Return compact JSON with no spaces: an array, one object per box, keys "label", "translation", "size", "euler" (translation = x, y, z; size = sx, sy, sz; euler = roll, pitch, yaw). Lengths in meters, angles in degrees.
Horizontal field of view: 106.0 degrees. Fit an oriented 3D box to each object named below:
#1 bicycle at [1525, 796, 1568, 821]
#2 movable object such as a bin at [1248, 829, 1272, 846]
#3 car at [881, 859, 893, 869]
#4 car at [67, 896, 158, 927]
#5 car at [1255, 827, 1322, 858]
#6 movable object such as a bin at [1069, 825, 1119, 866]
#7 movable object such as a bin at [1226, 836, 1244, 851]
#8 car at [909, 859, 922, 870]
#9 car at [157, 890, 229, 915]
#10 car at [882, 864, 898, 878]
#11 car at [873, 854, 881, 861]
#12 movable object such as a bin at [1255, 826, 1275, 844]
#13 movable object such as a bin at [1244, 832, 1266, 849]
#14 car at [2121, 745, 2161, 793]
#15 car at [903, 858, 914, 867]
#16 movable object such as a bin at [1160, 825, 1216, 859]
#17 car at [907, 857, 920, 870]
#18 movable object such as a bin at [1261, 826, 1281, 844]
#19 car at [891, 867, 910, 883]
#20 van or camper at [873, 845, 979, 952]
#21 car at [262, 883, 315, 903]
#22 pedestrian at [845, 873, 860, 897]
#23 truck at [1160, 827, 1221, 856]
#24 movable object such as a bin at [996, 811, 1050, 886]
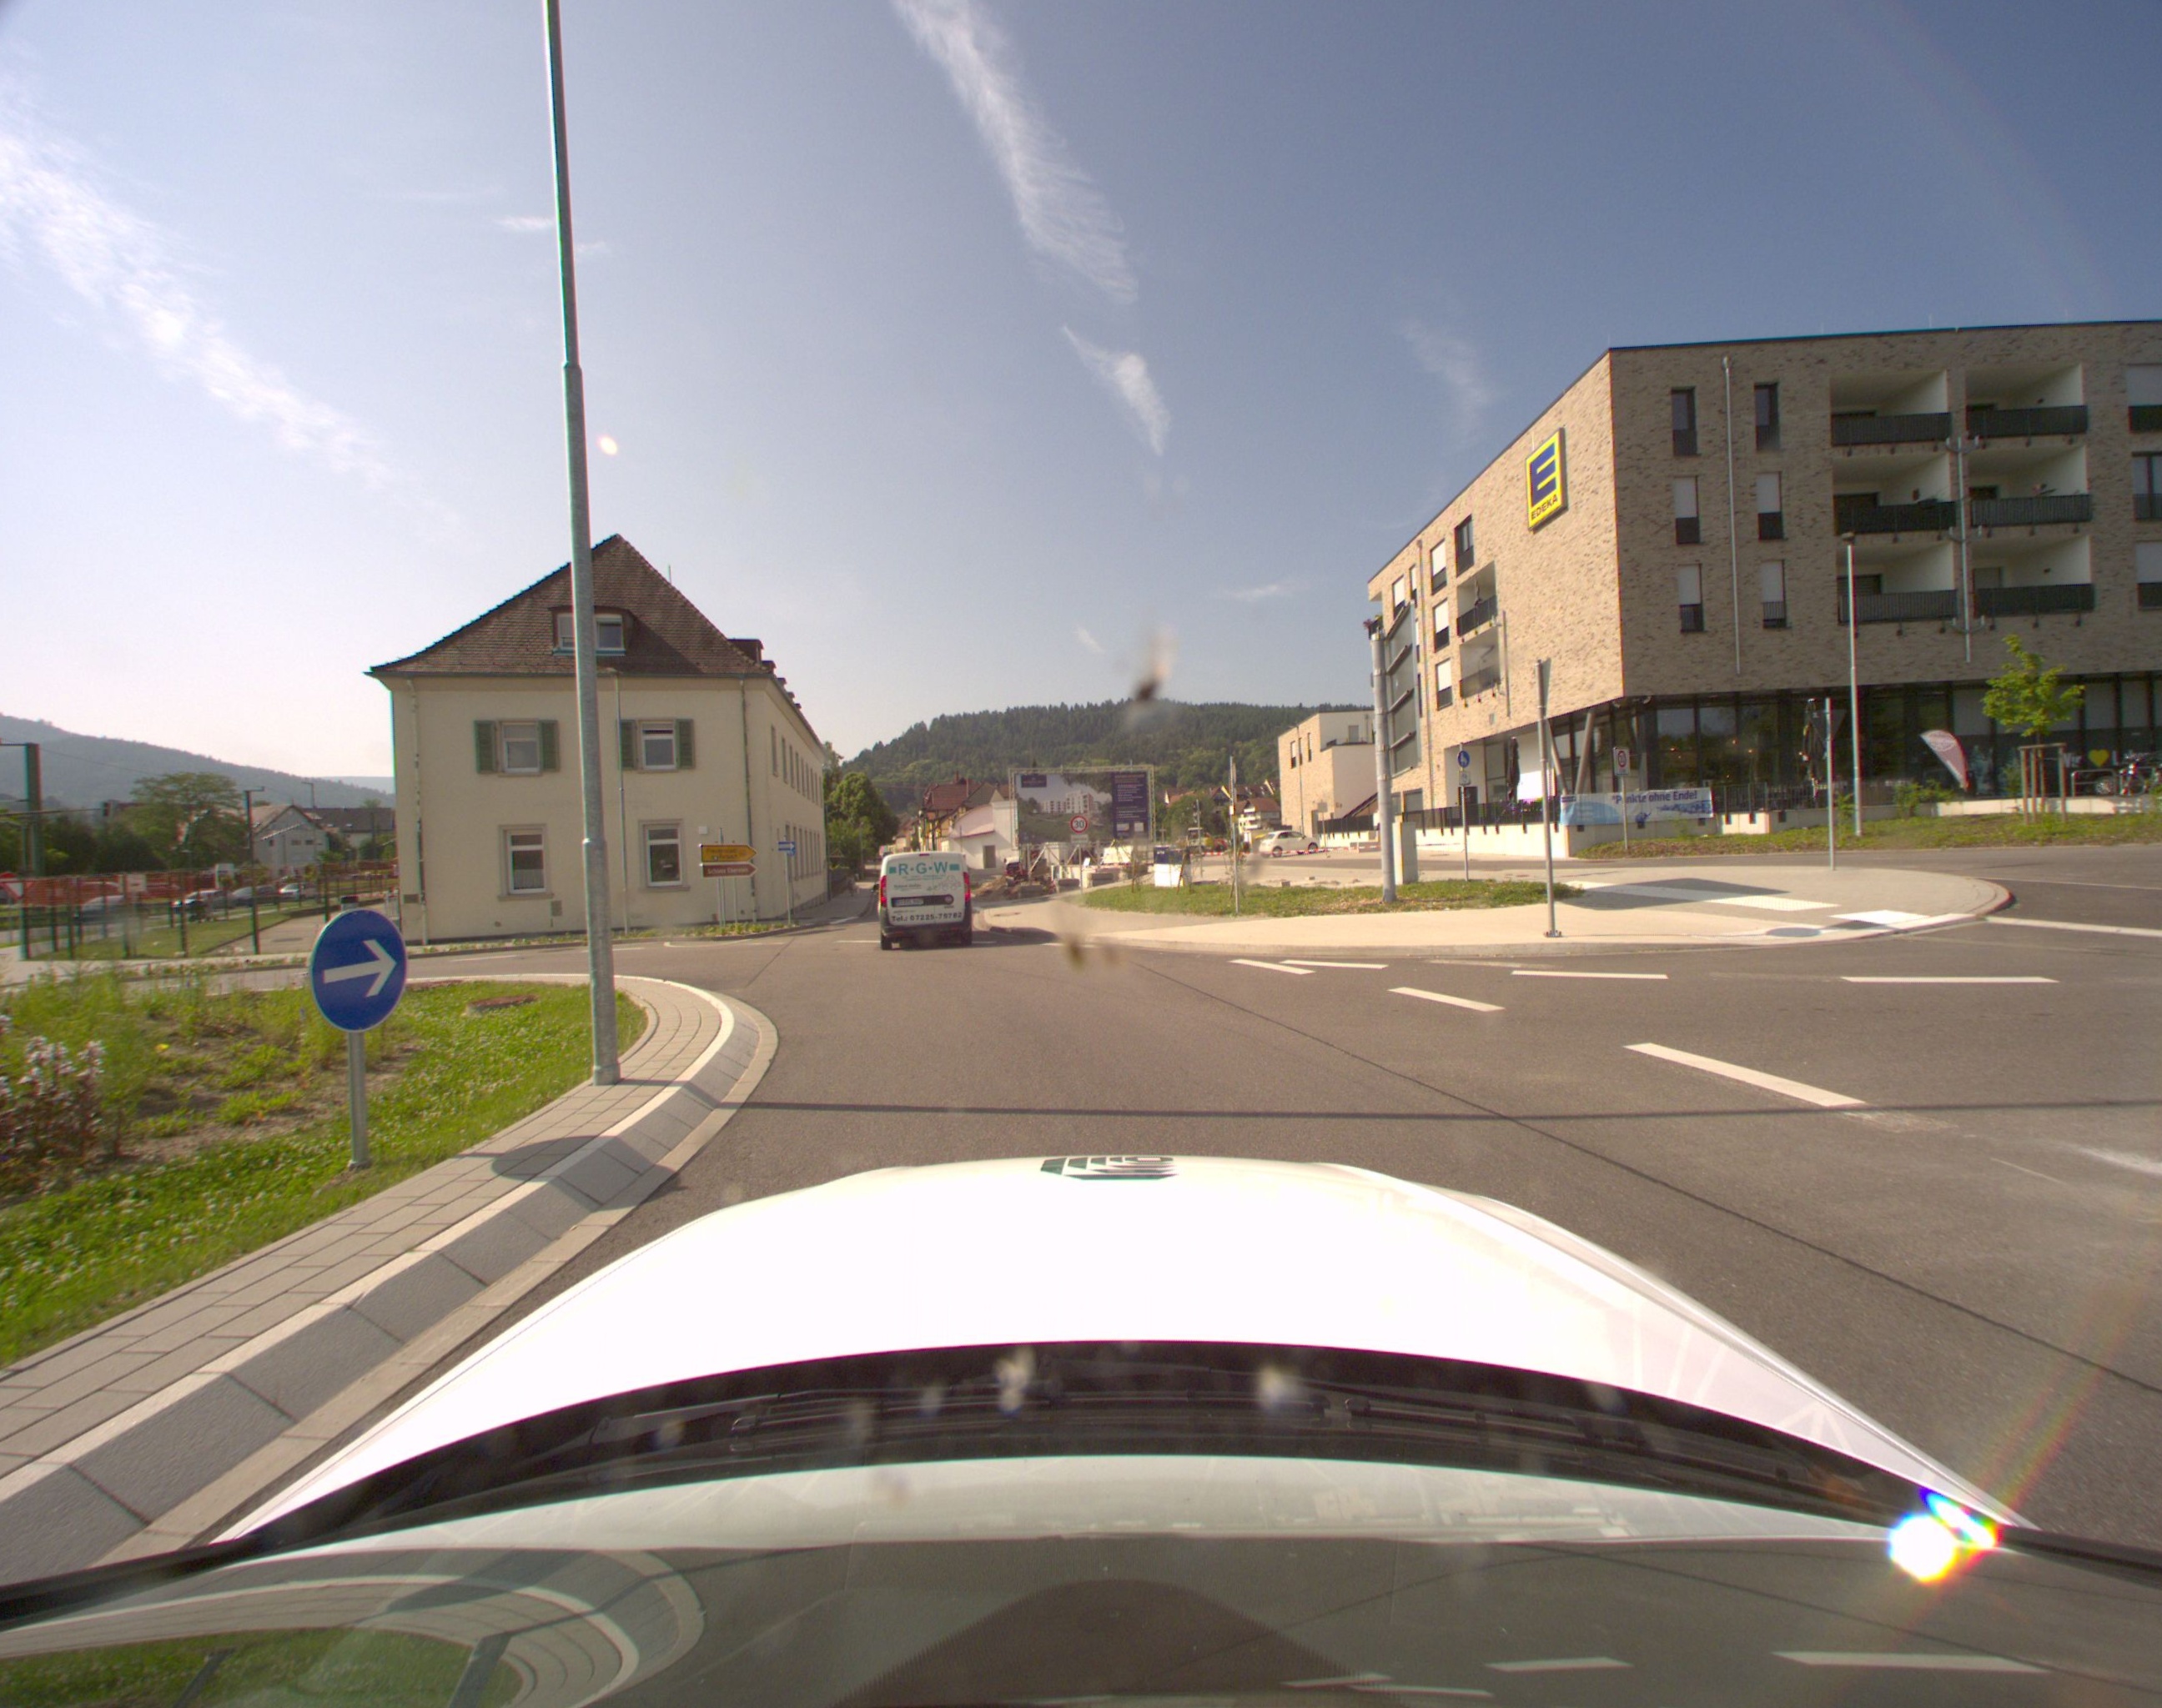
[{"label":"bicycle","translation":[20.809,-2.014,36.472],"size":[0.689,1.045,2.245],"euler":[0,1,1]},{"label":"movable object such as a bin","translation":[15.232,-1.398,69.193],"size":[1.689,1.464,1.318],"euler":[0,1,-4]},{"label":"car","translation":[-32.045,1.648,134.610],"size":[1.814,1.596,3.906],"euler":[-1,0,-15]},{"label":"car","translation":[-56.675,3.332,47.751],"size":[1.716,1.397,3.971],"euler":[-1,1,-22]},{"label":"car","translation":[12.132,-0.665,47.684],"size":[3.410,1.495,1.586],"euler":[-4,-1,-15]},{"label":"movable object such as a bin","translation":[1.274,-0.810,75.739],"size":[2.825,3.621,5.766],"euler":[0,1,21]},{"label":"movable object such as a bin","translation":[13.668,-0.955,72.404],"size":[1.293,1.268,1.318],"euler":[0,1,-4]},{"label":"car","translation":[-25.637,1.680,126.178],"size":[1.813,1.596,3.909],"euler":[-1,0,-13]},{"label":"car","translation":[-59.901,3.260,55.014],"size":[1.716,1.397,3.971],"euler":[-1,1,-22]},{"label":"car","translation":[-23.431,2.025,99.931],"size":[1.812,1.596,3.911],"euler":[-1,0,-12]},{"label":"car","translation":[-52.955,0.916,211.689],"size":[1.816,1.596,3.903],"euler":[-1,0,-18]},{"label":"movable object such as a bin","translation":[15.274,-1.572,67.649],"size":[1.296,1.464,1.318],"euler":[0,1,-4]},{"label":"movable object such as a bin","translation":[15.023,-1.145,70.494],"size":[1.577,1.464,1.318],"euler":[0,1,-4]},{"label":"car","translation":[33.057,-2.561,23.607],"size":[1.483,1.350,3.327],"euler":[0,1,-5]},{"label":"car","translation":[-32.086,1.502,151.400],"size":[1.673,1.508,3.979],"euler":[-4,1,-15]},{"label":"movable object such as a bin","translation":[9.533,-1.069,72.369],"size":[4.581,2.569,1.932],"euler":[-4,0,12]},{"label":"car","translation":[-27.909,1.538,135.750],"size":[1.874,2.013,3.981],"euler":[-2,0,-14]},{"label":"movable object such as a bin","translation":[15.381,-1.552,66.051],"size":[1.296,1.464,1.318],"euler":[0,1,-4]},{"label":"car","translation":[-18.964,2.177,85.837],"size":[1.811,1.596,3.912],"euler":[-1,0,-11]},{"label":"van or camper","translation":[-3.373,0.892,17.148],"size":[1.831,1.844,4.166],"euler":[-3,-1,-15]},{"label":"car","translation":[-64.685,3.144,66.537],"size":[1.716,1.397,3.971],"euler":[-1,1,-22]},{"label":"pedestrian","translation":[-16.321,2.220,58.087],"size":[0.959,1.631,0.754],"euler":[-2,-1,-14]},{"label":"truck","translation":[10.233,-1.140,75.694],"size":[5.279,2.265,2.226],"euler":[-4,0,12]},{"label":"movable object such as a bin","translation":[-3.379,-0.241,45.708],"size":[2.295,3.854,7.772],"euler":[-1,-1,-9]}]
